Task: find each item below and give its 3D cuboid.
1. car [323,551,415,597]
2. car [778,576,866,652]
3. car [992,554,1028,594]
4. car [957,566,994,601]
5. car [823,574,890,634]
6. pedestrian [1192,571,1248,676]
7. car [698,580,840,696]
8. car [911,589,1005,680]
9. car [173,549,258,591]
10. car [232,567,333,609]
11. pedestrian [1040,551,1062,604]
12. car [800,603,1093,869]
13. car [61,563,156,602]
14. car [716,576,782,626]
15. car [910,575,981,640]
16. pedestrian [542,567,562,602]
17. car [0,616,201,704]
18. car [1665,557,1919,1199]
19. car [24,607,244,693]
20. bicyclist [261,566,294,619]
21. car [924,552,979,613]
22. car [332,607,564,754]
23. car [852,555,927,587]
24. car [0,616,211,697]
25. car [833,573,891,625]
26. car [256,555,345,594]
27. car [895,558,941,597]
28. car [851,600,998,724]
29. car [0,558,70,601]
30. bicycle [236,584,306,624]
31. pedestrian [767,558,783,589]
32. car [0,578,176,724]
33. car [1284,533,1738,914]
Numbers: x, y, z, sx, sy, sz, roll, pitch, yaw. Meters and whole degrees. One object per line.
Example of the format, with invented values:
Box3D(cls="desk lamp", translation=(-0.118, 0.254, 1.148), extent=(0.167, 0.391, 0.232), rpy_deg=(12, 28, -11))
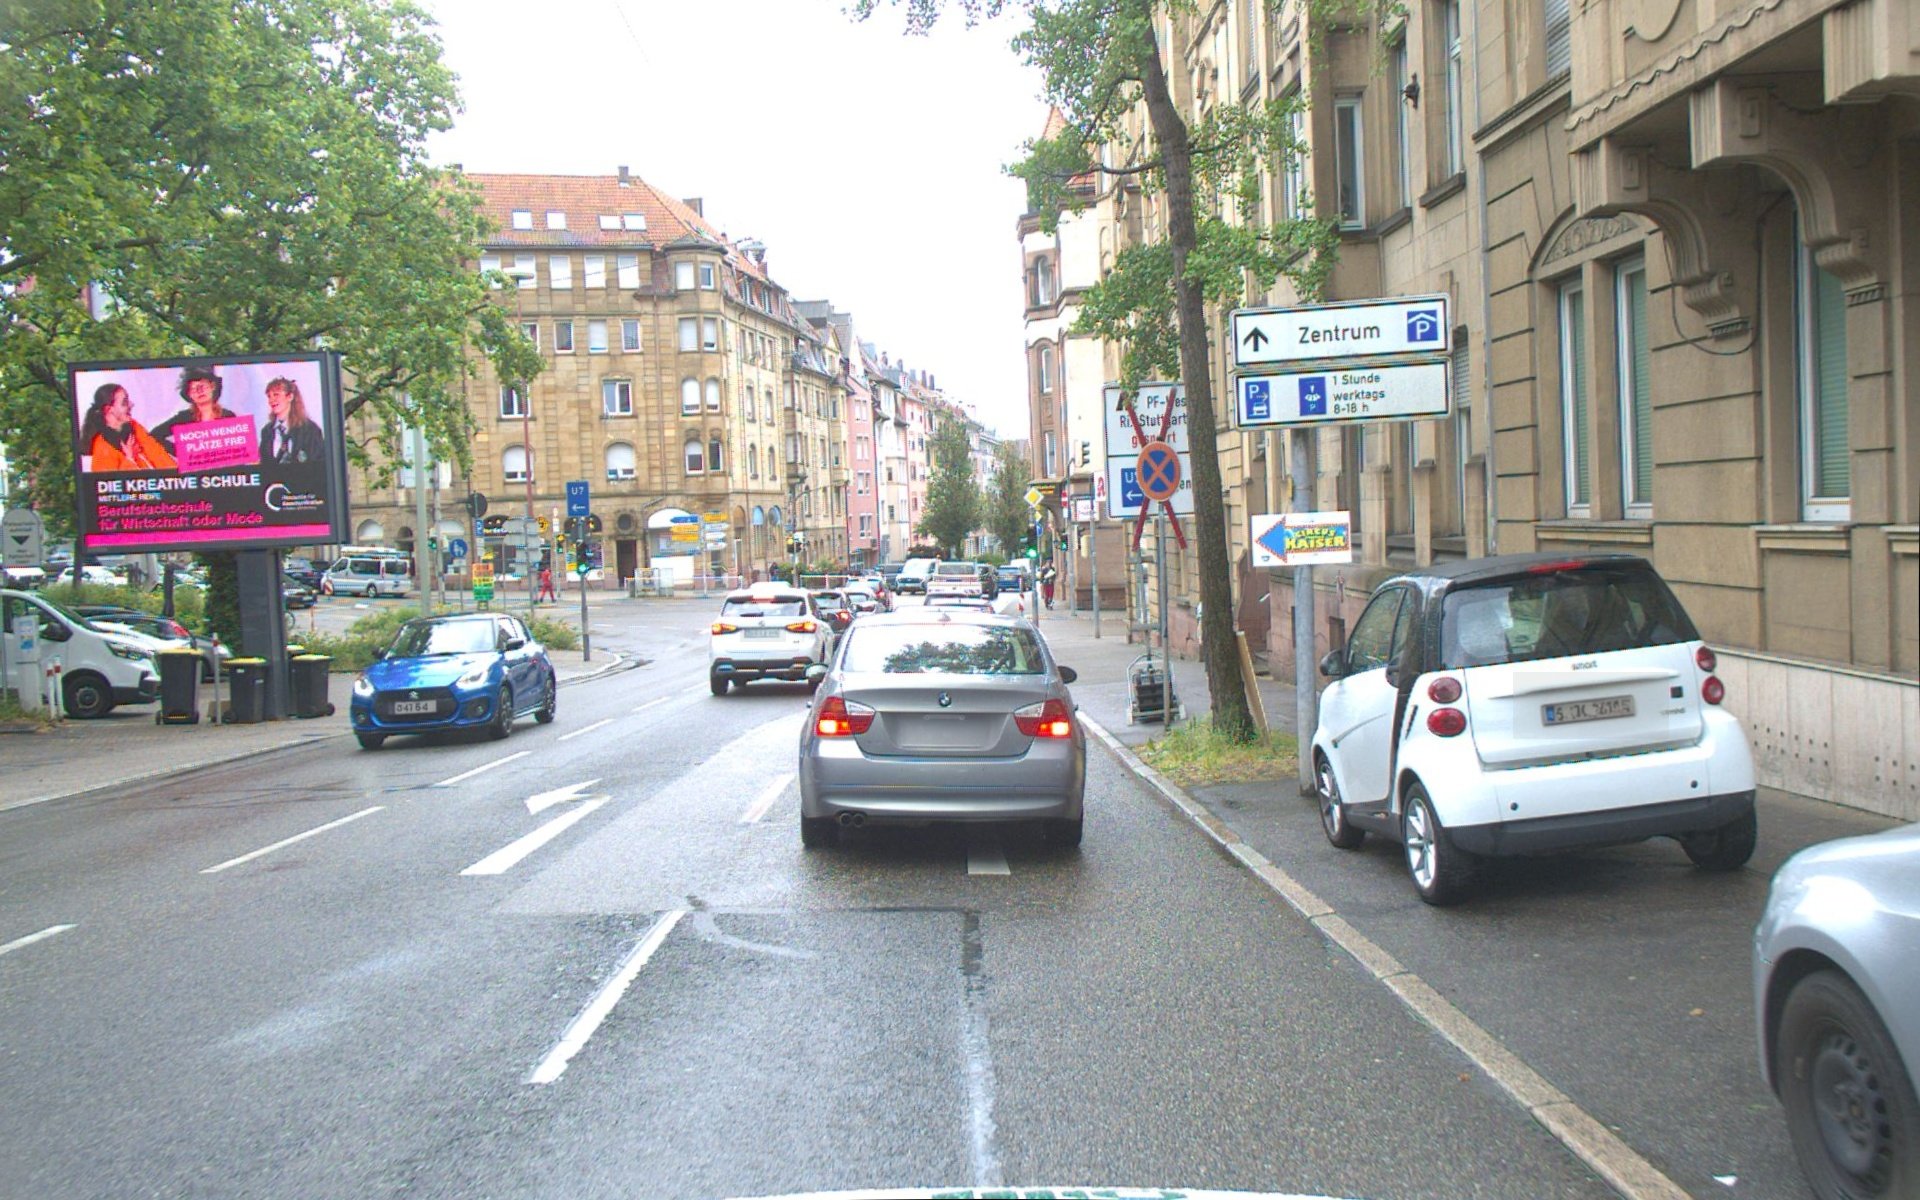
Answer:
Box3D(cls="car", translation=(-29.445, -1.325, 82.384), extent=(4.197, 2.138, 1.997), rpy_deg=(2, 2, 28))
Box3D(cls="car", translation=(-3.265, 0.303, 39.689), extent=(1.723, 1.737, 4.000), rpy_deg=(0, 0, 1))
Box3D(cls="car", translation=(2.785, -1.396, 90.674), extent=(1.689, 2.049, 4.002), rpy_deg=(1, -1, 5))
Box3D(cls="car", translation=(0.759, -0.779, 80.020), extent=(1.689, 1.579, 4.001), rpy_deg=(1, 0, 2))
Box3D(cls="car", translation=(-3.084, 0.094, 50.025), extent=(1.723, 1.737, 4.000), rpy_deg=(0, 0, 1))
Box3D(cls="pedestrian", translation=(3.988, 0.359, 25.389), extent=(0.618, 1.534, 0.693), rpy_deg=(-5, 0, -1))
Box3D(cls="car", translation=(-3.034, 0.550, 26.994), extent=(1.830, 1.653, 4.000), rpy_deg=(-2, 1, -1))
Box3D(cls="car", translation=(-0.004, 0.566, 29.685), extent=(1.562, 1.490, 4.001), rpy_deg=(1, 0, 1))
Box3D(cls="car", translation=(-39.644, -1.627, 88.100), extent=(4.197, 2.138, 1.997), rpy_deg=(2, 2, 28))
Box3D(cls="car", translation=(-29.616, -0.551, 72.254), extent=(4.157, 1.756, 1.996), rpy_deg=(1, 2, 31))
Box3D(cls="pedestrian", translation=(3.378, -0.836, 61.716), extent=(0.727, 1.943, 0.659), rpy_deg=(-1, 0, -1))
Box3D(cls="car", translation=(-0.048, 0.747, 10.836), extent=(1.590, 1.407, 3.615), rpy_deg=(0, 0, 1))
Box3D(cls="car", translation=(-40.225, -0.830, 78.121), extent=(4.155, 1.756, 1.997), rpy_deg=(0, 3, 29))
Box3D(cls="car", translation=(-7.301, 0.037, 57.696), extent=(1.703, 1.553, 4.471), rpy_deg=(-4, 0, -1))
Box3D(cls="car", translation=(-0.395, 0.160, 42.669), extent=(1.724, 1.594, 3.999), rpy_deg=(-1, 1, -1))
Box3D(cls="pedestrian", translation=(-19.026, -0.717, 77.112), extent=(0.526, 1.605, 0.719), rpy_deg=(-2, 0, 23))
Box3D(cls="car", translation=(-16.357, 1.092, 30.518), extent=(4.112, 1.481, 1.783), rpy_deg=(-1, 0, -22))
Box3D(cls="car", translation=(2.835, 0.614, 2.443), extent=(1.724, 1.476, 3.999), rpy_deg=(-6, 0, -1))
Box3D(cls="car", translation=(-17.621, 1.036, 35.495), extent=(4.068, 1.682, 1.756), rpy_deg=(-1, 0, -24))
Box3D(cls="bicyclist", translation=(-24.730, -0.279, 59.936), extent=(0.770, 1.852, 0.767), rpy_deg=(-3, 0, 39))
Box3D(cls="car", translation=(-0.311, -0.619, 61.053), extent=(1.953, 2.143, 3.999), rpy_deg=(0, 0, 0))
Box3D(cls="car", translation=(-6.137, 0.897, 20.262), extent=(1.681, 1.475, 3.741), rpy_deg=(-4, 0, -2))
Box3D(cls="car", translation=(-4.910, -2.046, 116.002), extent=(5.071, 2.049, 2.698), rpy_deg=(1, -1, -1))
Box3D(cls="car", translation=(-17.231, 1.100, 33.153), extent=(3.915, 1.476, 1.758), rpy_deg=(-1, 0, -21))
Box3D(cls="car", translation=(-3.357, -0.042, 57.324), extent=(1.723, 1.737, 4.000), rpy_deg=(0, 0, 1))
Box3D(cls="car", translation=(-33.837, -1.335, 84.853), extent=(4.197, 1.870, 1.997), rpy_deg=(2, 2, 28))
Box3D(cls="car", translation=(-2.174, -1.167, 86.302), extent=(1.724, 1.959, 4.327), rpy_deg=(-1, 1, 7))
Box3D(cls="car", translation=(-0.389, 0.724, 21.395), extent=(1.723, 1.407, 4.000), rpy_deg=(0, 0, 1))
Box3D(cls="car", translation=(-45.723, -1.007, 81.423), extent=(3.914, 2.049, 1.573), rpy_deg=(0, 1, 32))
Box3D(cls="bicycle", translation=(-24.914, 0.139, 59.827), extent=(0.661, 1.343, 2.264), rpy_deg=(-2, 1, 39))
Box3D(cls="pedestrian", translation=(-9.719, -1.412, 86.876), extent=(0.716, 1.605, 0.528), rpy_deg=(-1, 0, 8))
Box3D(cls="car", translation=(-14.923, 0.791, 25.426), extent=(4.988, 2.142, 1.980), rpy_deg=(-1, 0, -22))
Box3D(cls="car", translation=(2.746, 0.540, 8.850), extent=(1.273, 1.569, 2.976), rpy_deg=(-6, 0, -1))
